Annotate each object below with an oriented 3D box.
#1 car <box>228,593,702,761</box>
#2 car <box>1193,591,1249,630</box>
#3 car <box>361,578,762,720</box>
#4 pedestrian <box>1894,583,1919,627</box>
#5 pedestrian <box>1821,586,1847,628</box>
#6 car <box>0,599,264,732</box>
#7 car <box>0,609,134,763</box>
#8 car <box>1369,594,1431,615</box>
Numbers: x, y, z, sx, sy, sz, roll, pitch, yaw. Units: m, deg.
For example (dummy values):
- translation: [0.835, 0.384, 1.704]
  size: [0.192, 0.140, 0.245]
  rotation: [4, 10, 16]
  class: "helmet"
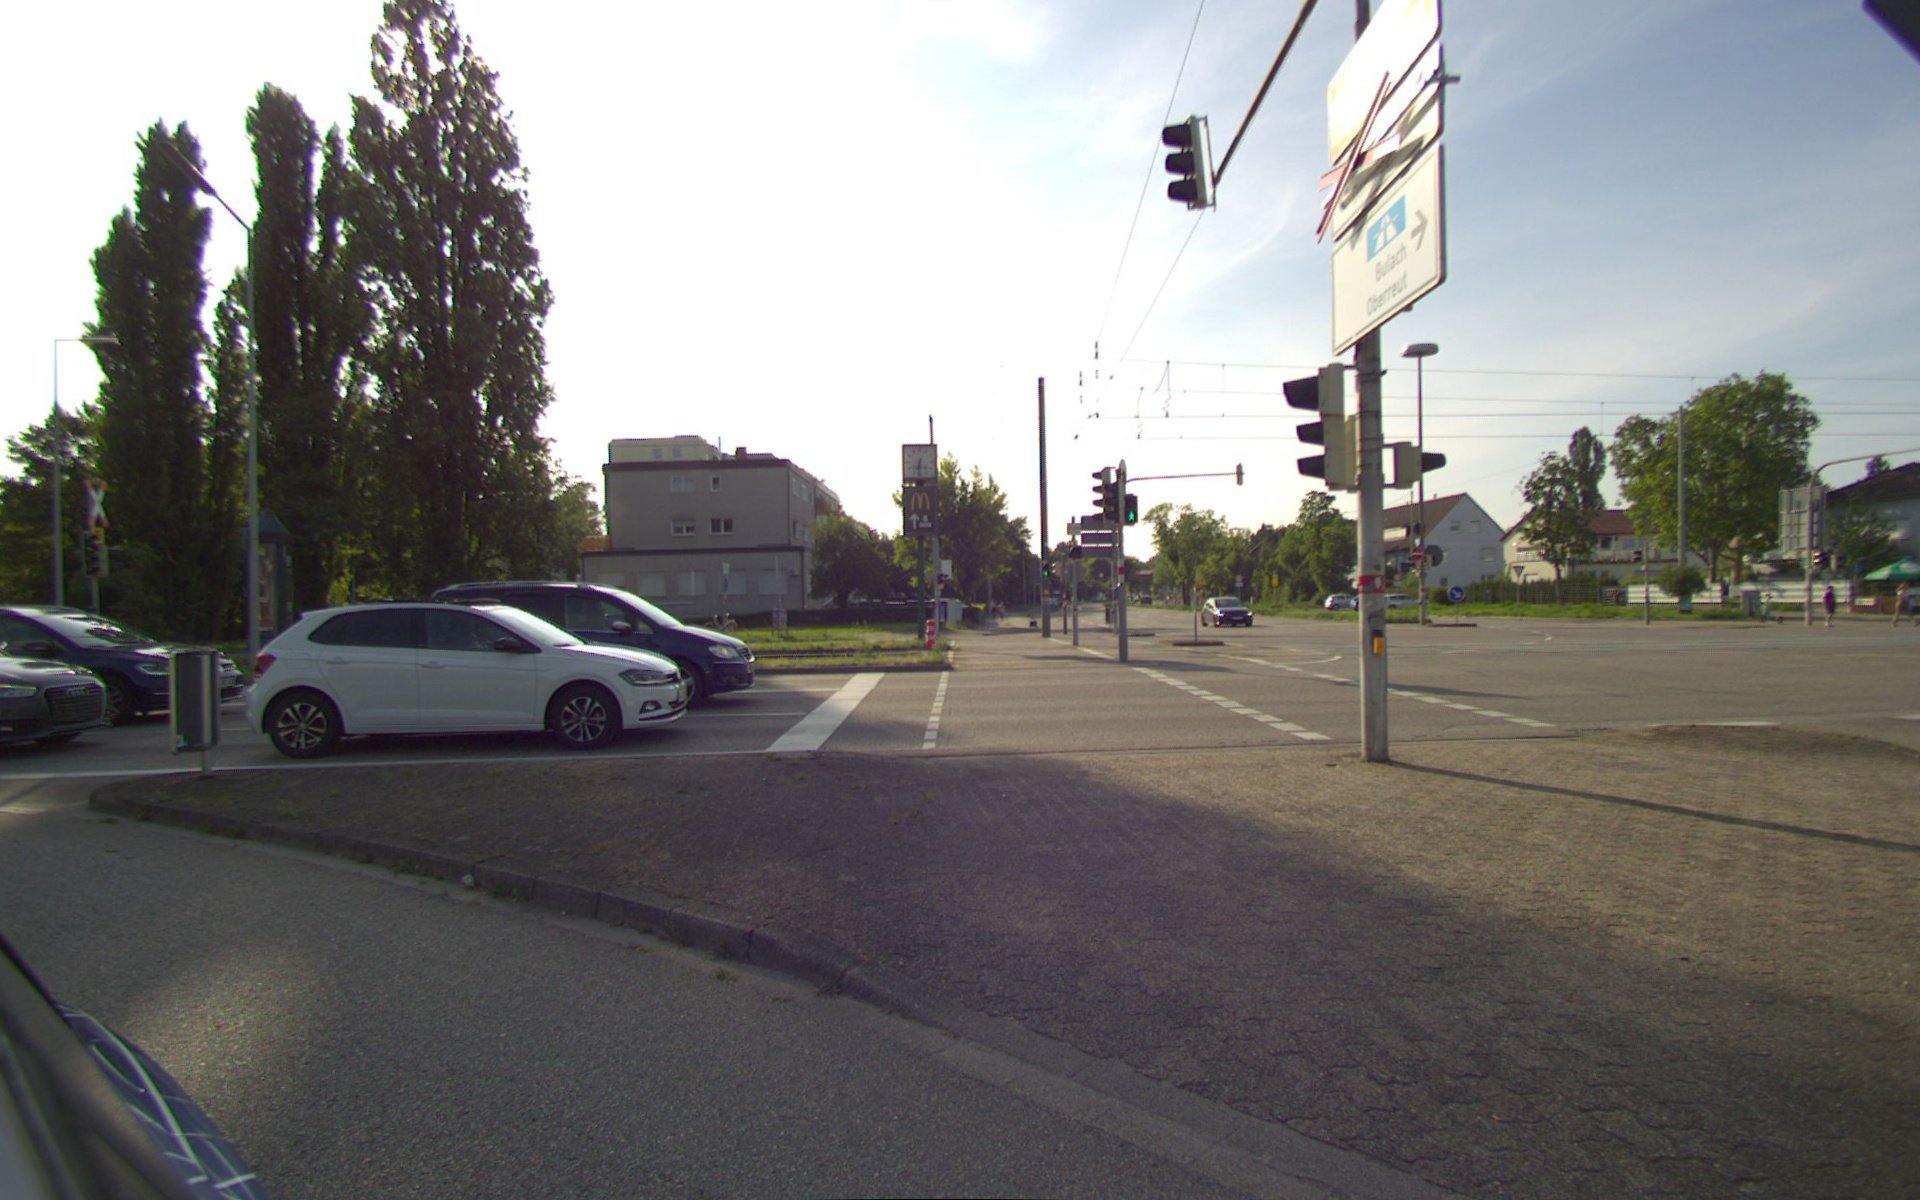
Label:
- translation: [-4.744, 0.703, 10.179]
  size: [3.952, 1.454, 1.664]
  rotation: [-1, -1, -5]
  class: "car"
- translation: [12.738, 0.494, 49.532]
  size: [1.497, 1.806, 4.002]
  rotation: [-1, 0, -3]
  class: "car"
- translation: [-5.085, 0.606, 13.340]
  size: [4.673, 1.664, 1.512]
  rotation: [-1, -1, -3]
  class: "car"
- translation: [35.488, 0.175, 37.636]
  size: [0.800, 1.611, 0.751]
  rotation: [-1, 0, -6]
  class: "pedestrian"
- translation: [33.731, 0.273, 39.069]
  size: [0.531, 1.611, 0.514]
  rotation: [-1, 0, -5]
  class: "pedestrian"
- translation: [-11.649, 0.797, 12.767]
  size: [4.485, 1.519, 1.707]
  rotation: [-1, 0, -4]
  class: "car"
- translation: [-10.738, 0.830, 9.975]
  size: [3.769, 1.408, 1.649]
  rotation: [-1, -1, -4]
  class: "car"
- translation: [36.257, 0.379, 83.472]
  size: [4.163, 1.696, 1.999]
  rotation: [0, 1, 3]
  class: "car"
